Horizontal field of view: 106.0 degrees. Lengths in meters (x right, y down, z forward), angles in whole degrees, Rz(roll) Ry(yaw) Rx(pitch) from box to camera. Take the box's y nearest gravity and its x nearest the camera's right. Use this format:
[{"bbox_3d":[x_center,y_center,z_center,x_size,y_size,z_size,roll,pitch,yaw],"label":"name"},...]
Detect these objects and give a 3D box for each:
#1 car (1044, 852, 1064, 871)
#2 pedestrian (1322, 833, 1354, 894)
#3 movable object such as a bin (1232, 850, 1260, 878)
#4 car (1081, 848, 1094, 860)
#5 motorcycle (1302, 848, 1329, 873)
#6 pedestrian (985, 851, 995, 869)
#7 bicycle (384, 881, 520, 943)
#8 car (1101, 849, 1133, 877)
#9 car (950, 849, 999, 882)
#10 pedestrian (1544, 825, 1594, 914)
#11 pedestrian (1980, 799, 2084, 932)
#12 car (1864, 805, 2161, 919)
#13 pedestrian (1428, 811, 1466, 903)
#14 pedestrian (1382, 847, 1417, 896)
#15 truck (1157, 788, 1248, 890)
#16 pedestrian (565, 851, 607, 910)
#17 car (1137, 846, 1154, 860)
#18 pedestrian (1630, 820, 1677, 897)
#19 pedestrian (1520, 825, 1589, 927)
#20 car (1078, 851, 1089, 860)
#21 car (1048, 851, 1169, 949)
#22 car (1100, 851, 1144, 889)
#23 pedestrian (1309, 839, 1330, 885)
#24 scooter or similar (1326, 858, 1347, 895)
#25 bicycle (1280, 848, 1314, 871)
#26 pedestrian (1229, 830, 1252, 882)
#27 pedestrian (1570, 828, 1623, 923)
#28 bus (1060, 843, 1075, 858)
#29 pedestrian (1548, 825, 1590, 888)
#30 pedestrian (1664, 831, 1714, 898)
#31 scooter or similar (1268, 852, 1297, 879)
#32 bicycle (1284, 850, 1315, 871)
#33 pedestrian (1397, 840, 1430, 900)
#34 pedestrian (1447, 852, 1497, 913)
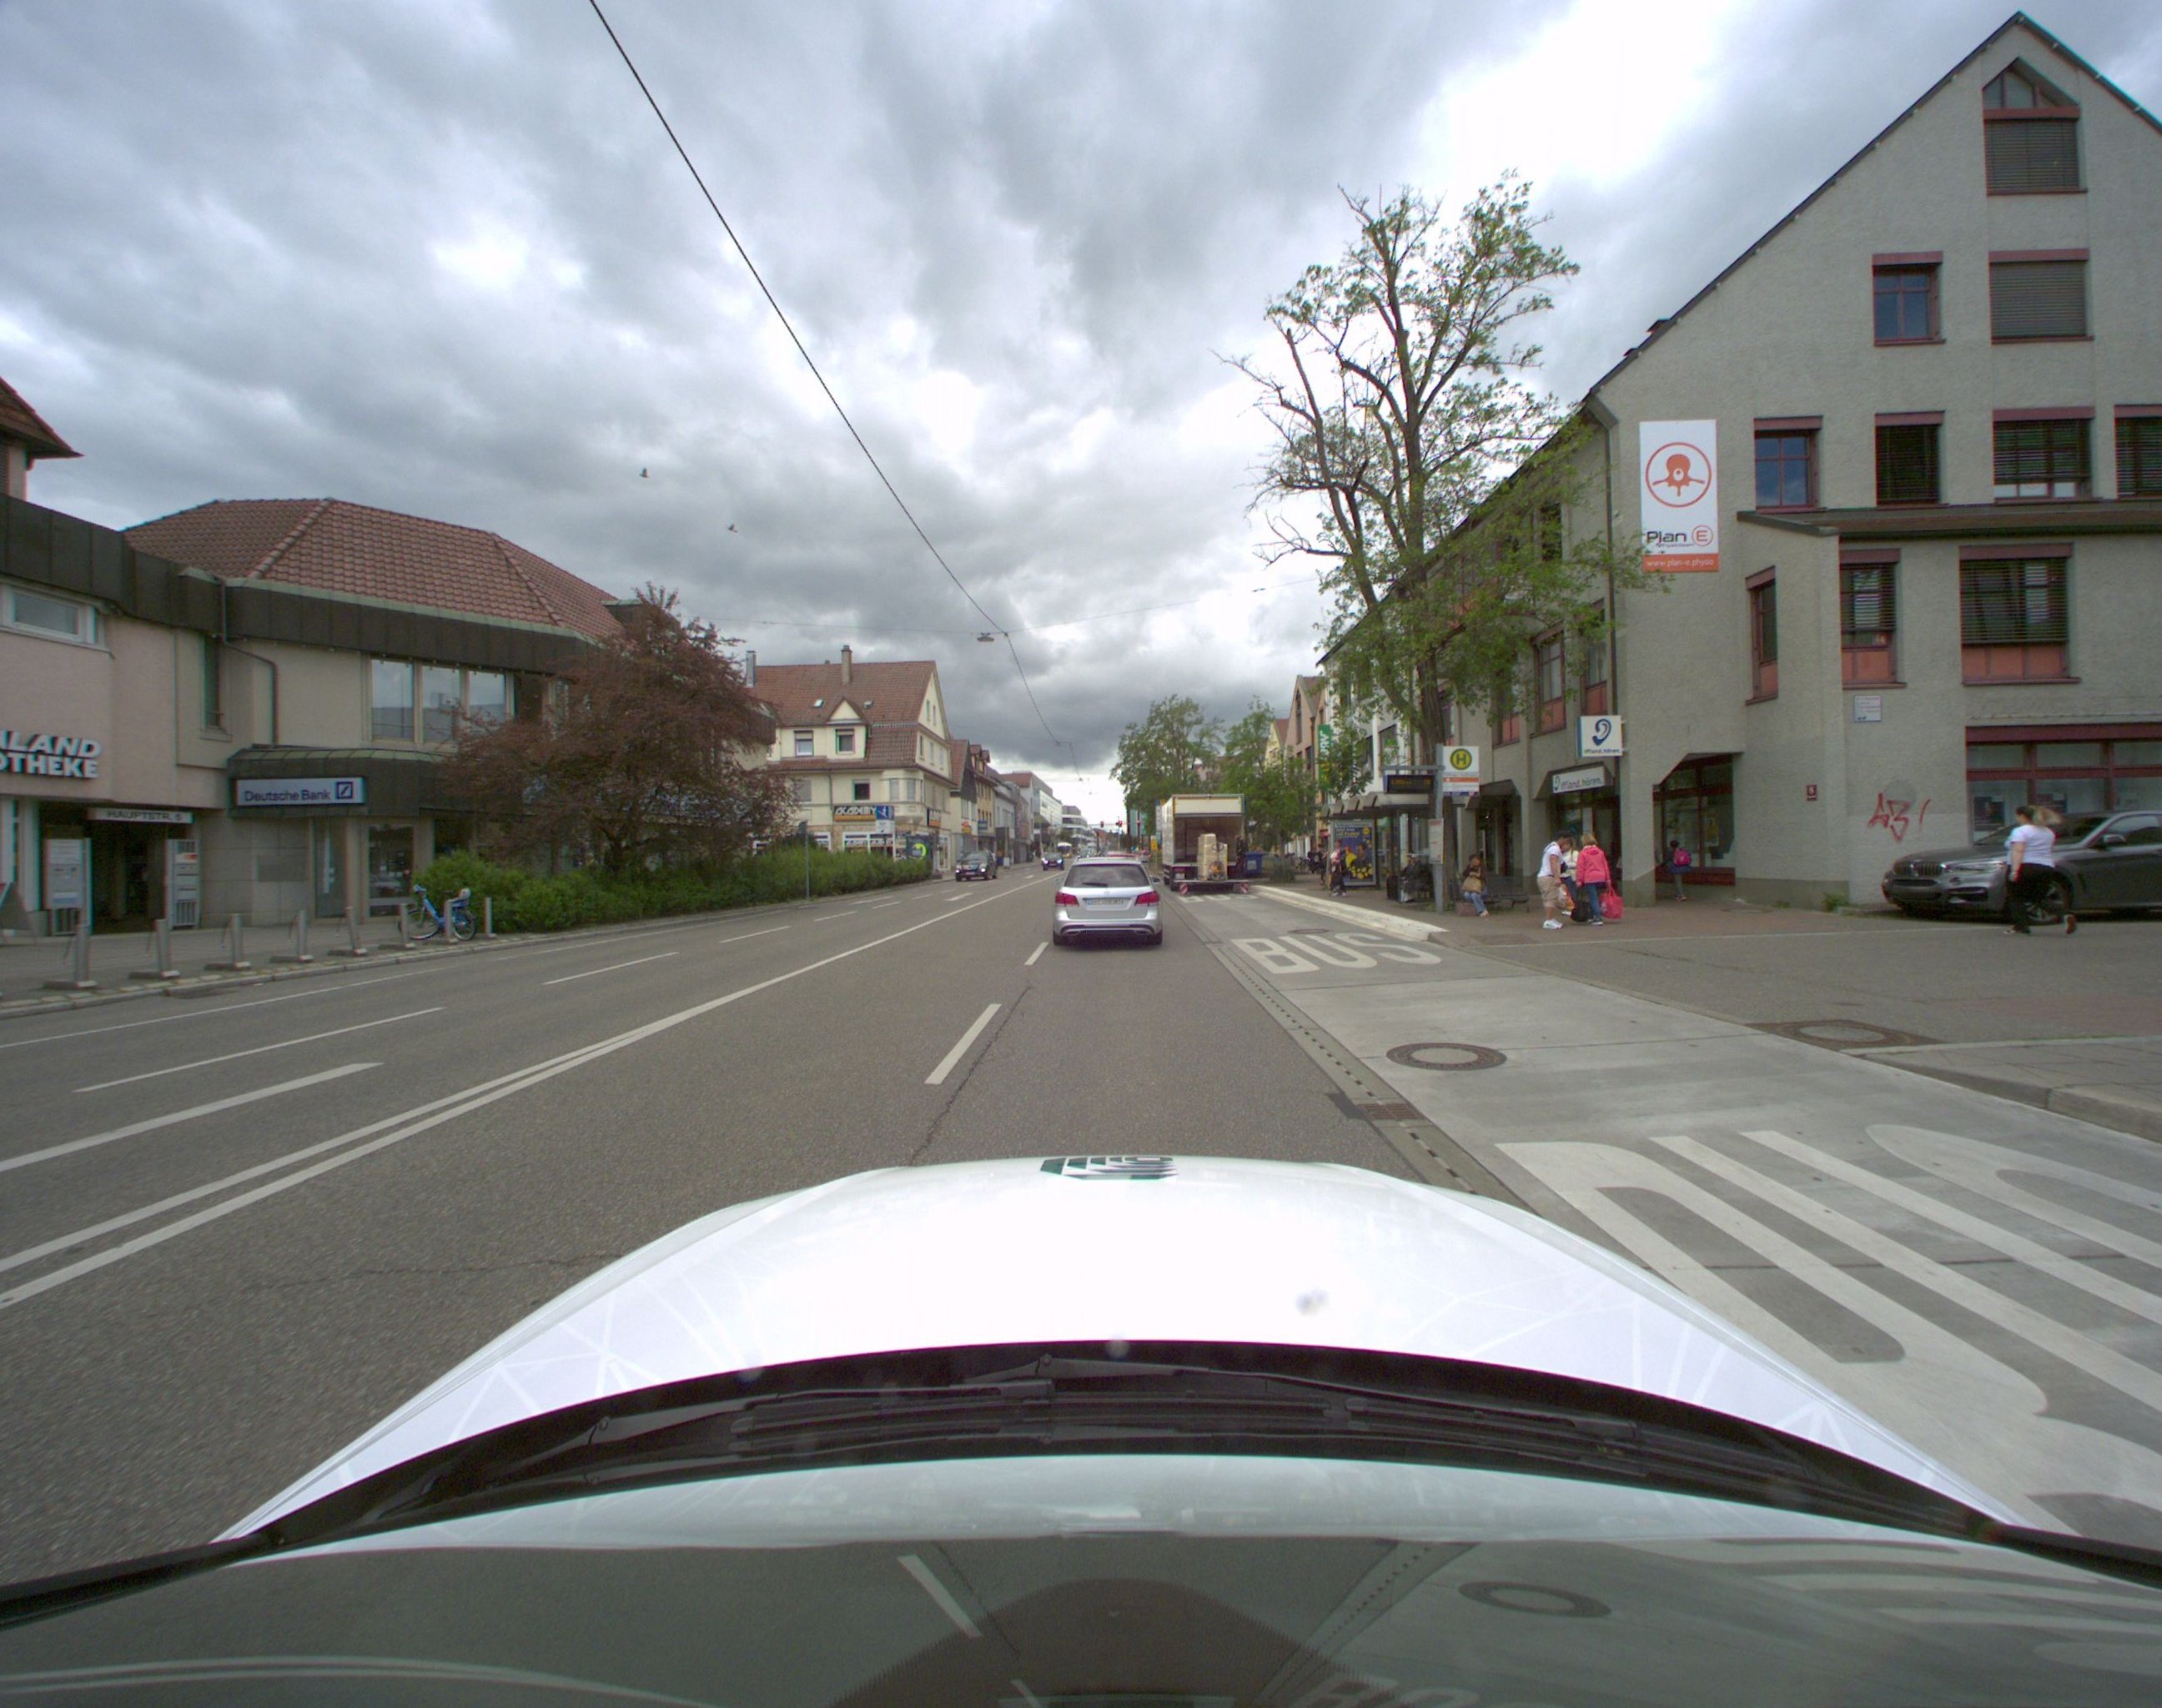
[{"bbox_3d":[-2.273,0.586,68.576,1.565,1.540,2.960,-1,0,0],"label":"car"},{"bbox_3d":[7.046,0.252,22.340,0.536,1.634,0.584,2,0,-22],"label":"pedestrian"},{"bbox_3d":[8.067,0.476,39.876,1.138,1.339,1.378,-1,0,4],"label":"movable object such as a bin"},{"bbox_3d":[1.174,0.056,140.045,1.953,1.960,5.143,-3,0,3],"label":"car"},{"bbox_3d":[12.373,0.347,43.032,0.734,1.270,2.107,-2,0,-1],"label":"motorcycle"},{"bbox_3d":[-8.387,0.544,75.109,0.815,1.634,0.979,1,0,-3],"label":"pedestrian"},{"bbox_3d":[-12.202,1.114,15.855,2.016,1.090,0.647,-1,0,-8],"label":"bicycle"},{"bbox_3d":[2.326,0.525,52.101,1.985,1.684,4.003,-1,0,3],"label":"car"},{"bbox_3d":[-6.192,0.626,47.996,2.061,1.738,4.694,-3,0,2],"label":"car"},{"bbox_3d":[9.203,0.287,15.375,0.610,1.634,0.589,-1,0,7],"label":"pedestrian"},{"bbox_3d":[12.140,0.138,10.415,0.584,1.634,0.615,-1,0,2],"label":"pedestrian"},{"bbox_3d":[15.331,0.113,12.516,4.581,1.619,1.884,-1,0,6],"label":"car"},{"bbox_3d":[8.394,0.062,18.679,0.608,2.047,0.590,-3,-1,15],"label":"pedestrian"},{"bbox_3d":[8.213,0.446,21.009,0.695,1.232,0.590,-3,-1,11],"label":"pedestrian"},{"bbox_3d":[4.747,-0.569,33.703,2.678,3.561,9.773,-1,0,2],"label":"truck"},{"bbox_3d":[-15.348,0.805,25.242,0.722,1.764,0.757,3,1,6],"label":"pedestrian"},{"bbox_3d":[8.087,-0.078,102.220,1.985,1.684,4.003,-1,0,3],"label":"car"},{"bbox_3d":[12.404,0.091,17.654,0.583,1.634,0.615,-1,0,4],"label":"pedestrian"},{"bbox_3d":[7.868,0.347,13.559,0.613,1.634,0.791,-1,1,-10],"label":"pedestrian"},{"bbox_3d":[0.407,0.246,130.007,1.610,1.428,3.926,-2,0,3],"label":"car"},{"bbox_3d":[0.461,0.713,14.618,1.868,1.506,4.000,-1,0,1],"label":"car"},{"bbox_3d":[1.791,0.680,35.427,1.747,1.521,4.003,-2,0,3],"label":"car"},{"bbox_3d":[9.230,0.303,31.526,0.611,1.740,0.588,2,0,-1],"label":"pedestrian"},{"bbox_3d":[6.900,0.604,21.971,0.387,0.959,0.351,-2,0,-39],"label":"scooter or similar"},{"bbox_3d":[13.143,0.342,49.490,1.811,1.326,0.843,-1,0,-1],"label":"bicycle"},{"bbox_3d":[5.464,0.074,27.974,0.611,1.780,0.587,-2,-1,-1],"label":"pedestrian"},{"bbox_3d":[8.711,0.345,13.781,0.666,1.567,0.494,0,2,22],"label":"pedestrian"},{"bbox_3d":[-2.848,-0.824,175.189,2.764,3.165,5.937,-1,0,3],"label":"bus"},{"bbox_3d":[12.909,0.059,21.554,0.724,1.634,0.614,-1,0,-6],"label":"pedestrian"},{"bbox_3d":[12.732,0.205,17.068,0.583,1.375,0.616,-1,0,4],"label":"pedestrian"},{"bbox_3d":[9.055,0.520,36.654,1.174,1.196,0.459,-1,0,-7],"label":"scooter or similar"},{"bbox_3d":[13.013,0.383,48.598,1.670,1.259,0.669,-1,0,-2],"label":"bicycle"},{"bbox_3d":[8.034,0.391,19.708,0.608,1.401,0.590,-3,-1,15],"label":"pedestrian"},{"bbox_3d":[7.745,0.547,16.158,0.710,1.166,0.587,-1,1,-4],"label":"pedestrian"}]
